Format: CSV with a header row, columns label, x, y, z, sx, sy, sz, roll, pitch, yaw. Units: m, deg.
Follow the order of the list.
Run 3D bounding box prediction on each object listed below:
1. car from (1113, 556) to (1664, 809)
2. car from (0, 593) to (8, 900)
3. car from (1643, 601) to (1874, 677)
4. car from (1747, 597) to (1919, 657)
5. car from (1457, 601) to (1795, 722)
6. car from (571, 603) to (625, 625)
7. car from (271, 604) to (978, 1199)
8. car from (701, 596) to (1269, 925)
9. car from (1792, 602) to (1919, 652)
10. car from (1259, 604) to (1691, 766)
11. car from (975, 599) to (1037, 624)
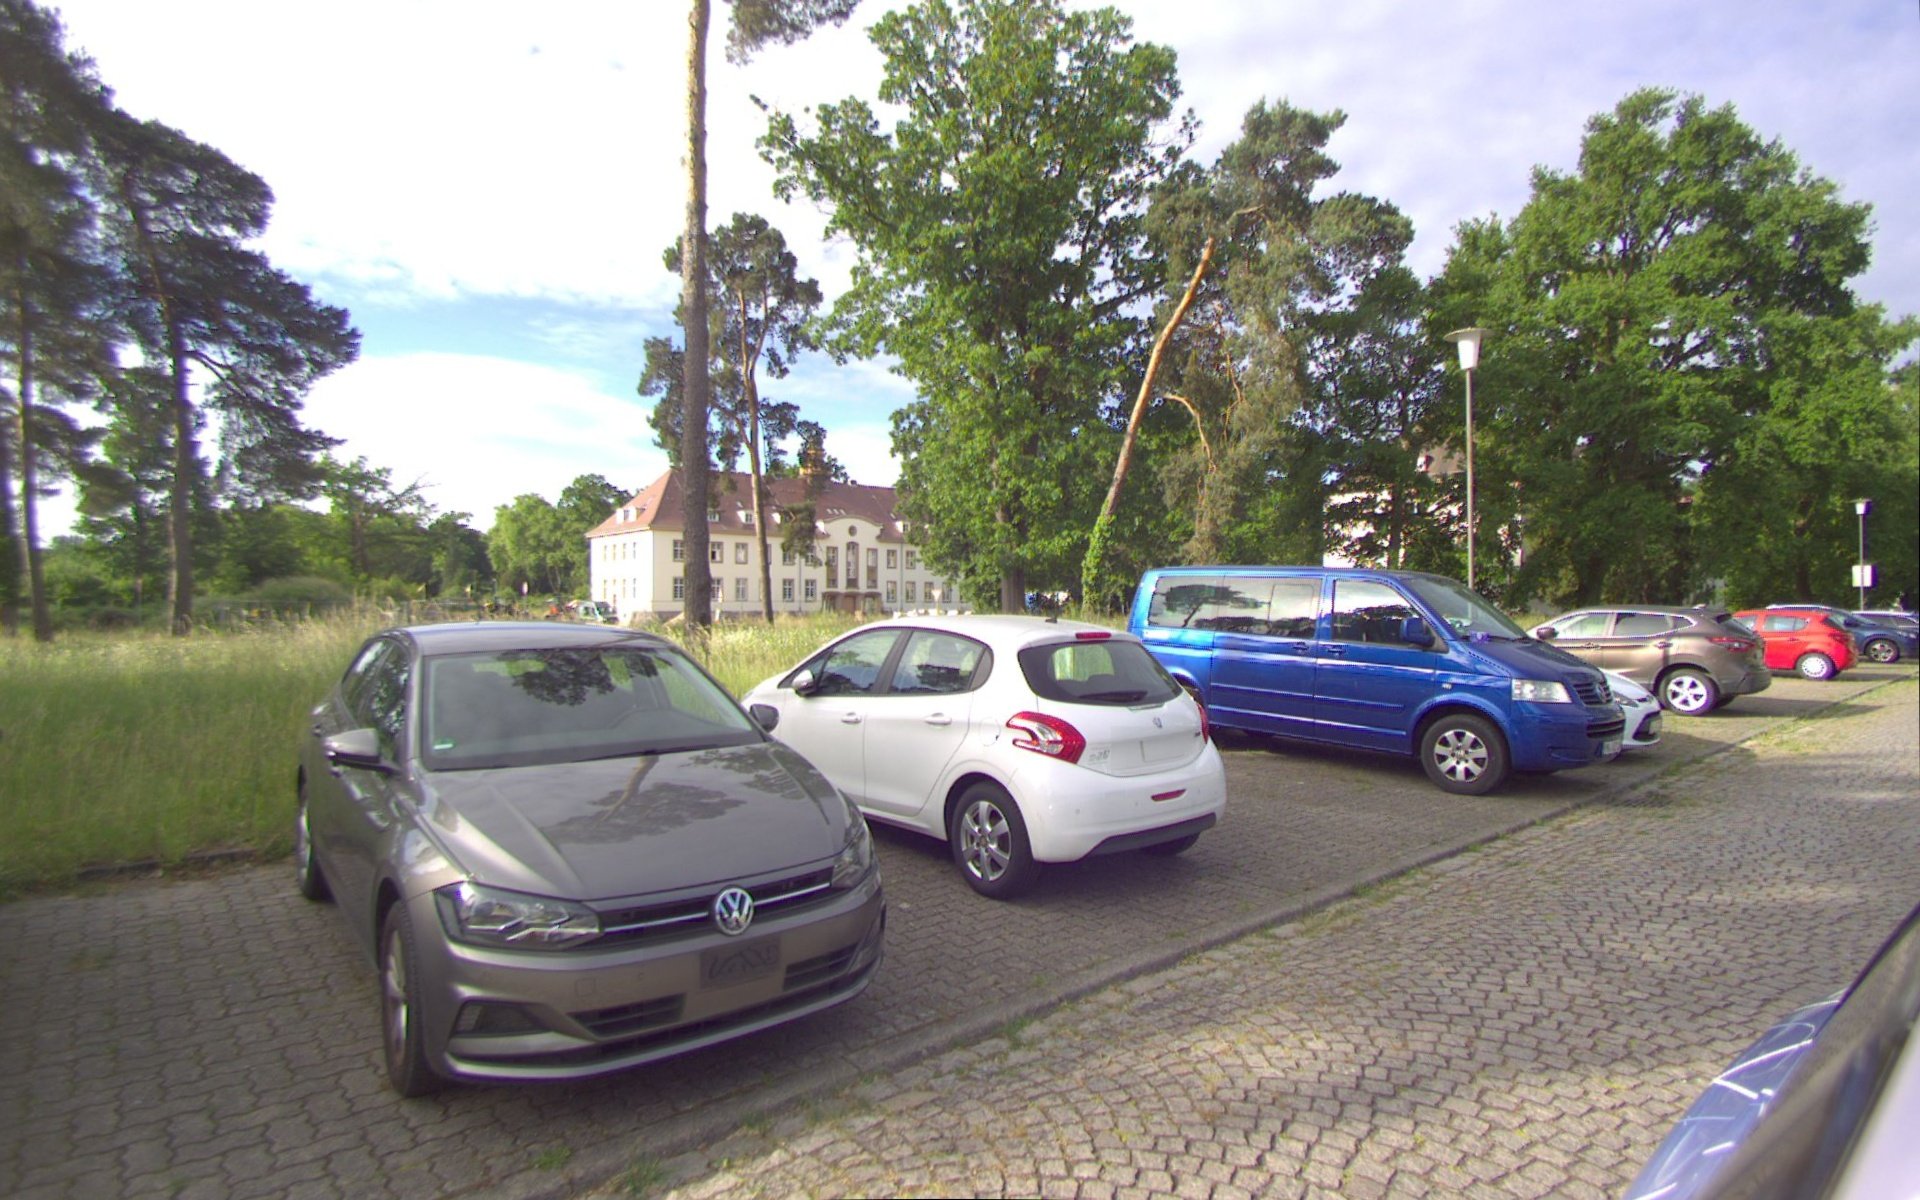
label,x,y,z,sx,sy,sz,roll,pitch,yaw
car,4.022,0.559,10.227,1.958,1.952,4.741,0,2,-41
car,-4.449,0.747,3.302,1.741,1.514,3.958,0,1,-40
car,17.942,0.801,22.865,1.658,1.491,3.883,0,1,-42
car,25.640,0.724,29.413,1.716,1.589,4.132,0,1,-41
car,10.447,0.851,16.116,1.846,1.609,4.196,0,1,-42
car,-34.648,1.284,96.722,5.644,2.039,2.593,-1,0,43
car,-1.888,0.792,4.723,1.798,1.486,3.958,0,1,-40
car,-0.079,0.761,6.930,1.776,1.549,3.881,0,1,-40
car,29.284,0.837,32.250,1.751,1.469,4.035,0,1,-38
car,5.857,0.826,11.875,1.778,1.488,4.193,0,1,-44
car,4.339,1.074,95.318,5.853,2.329,2.167,0,-1,-39
